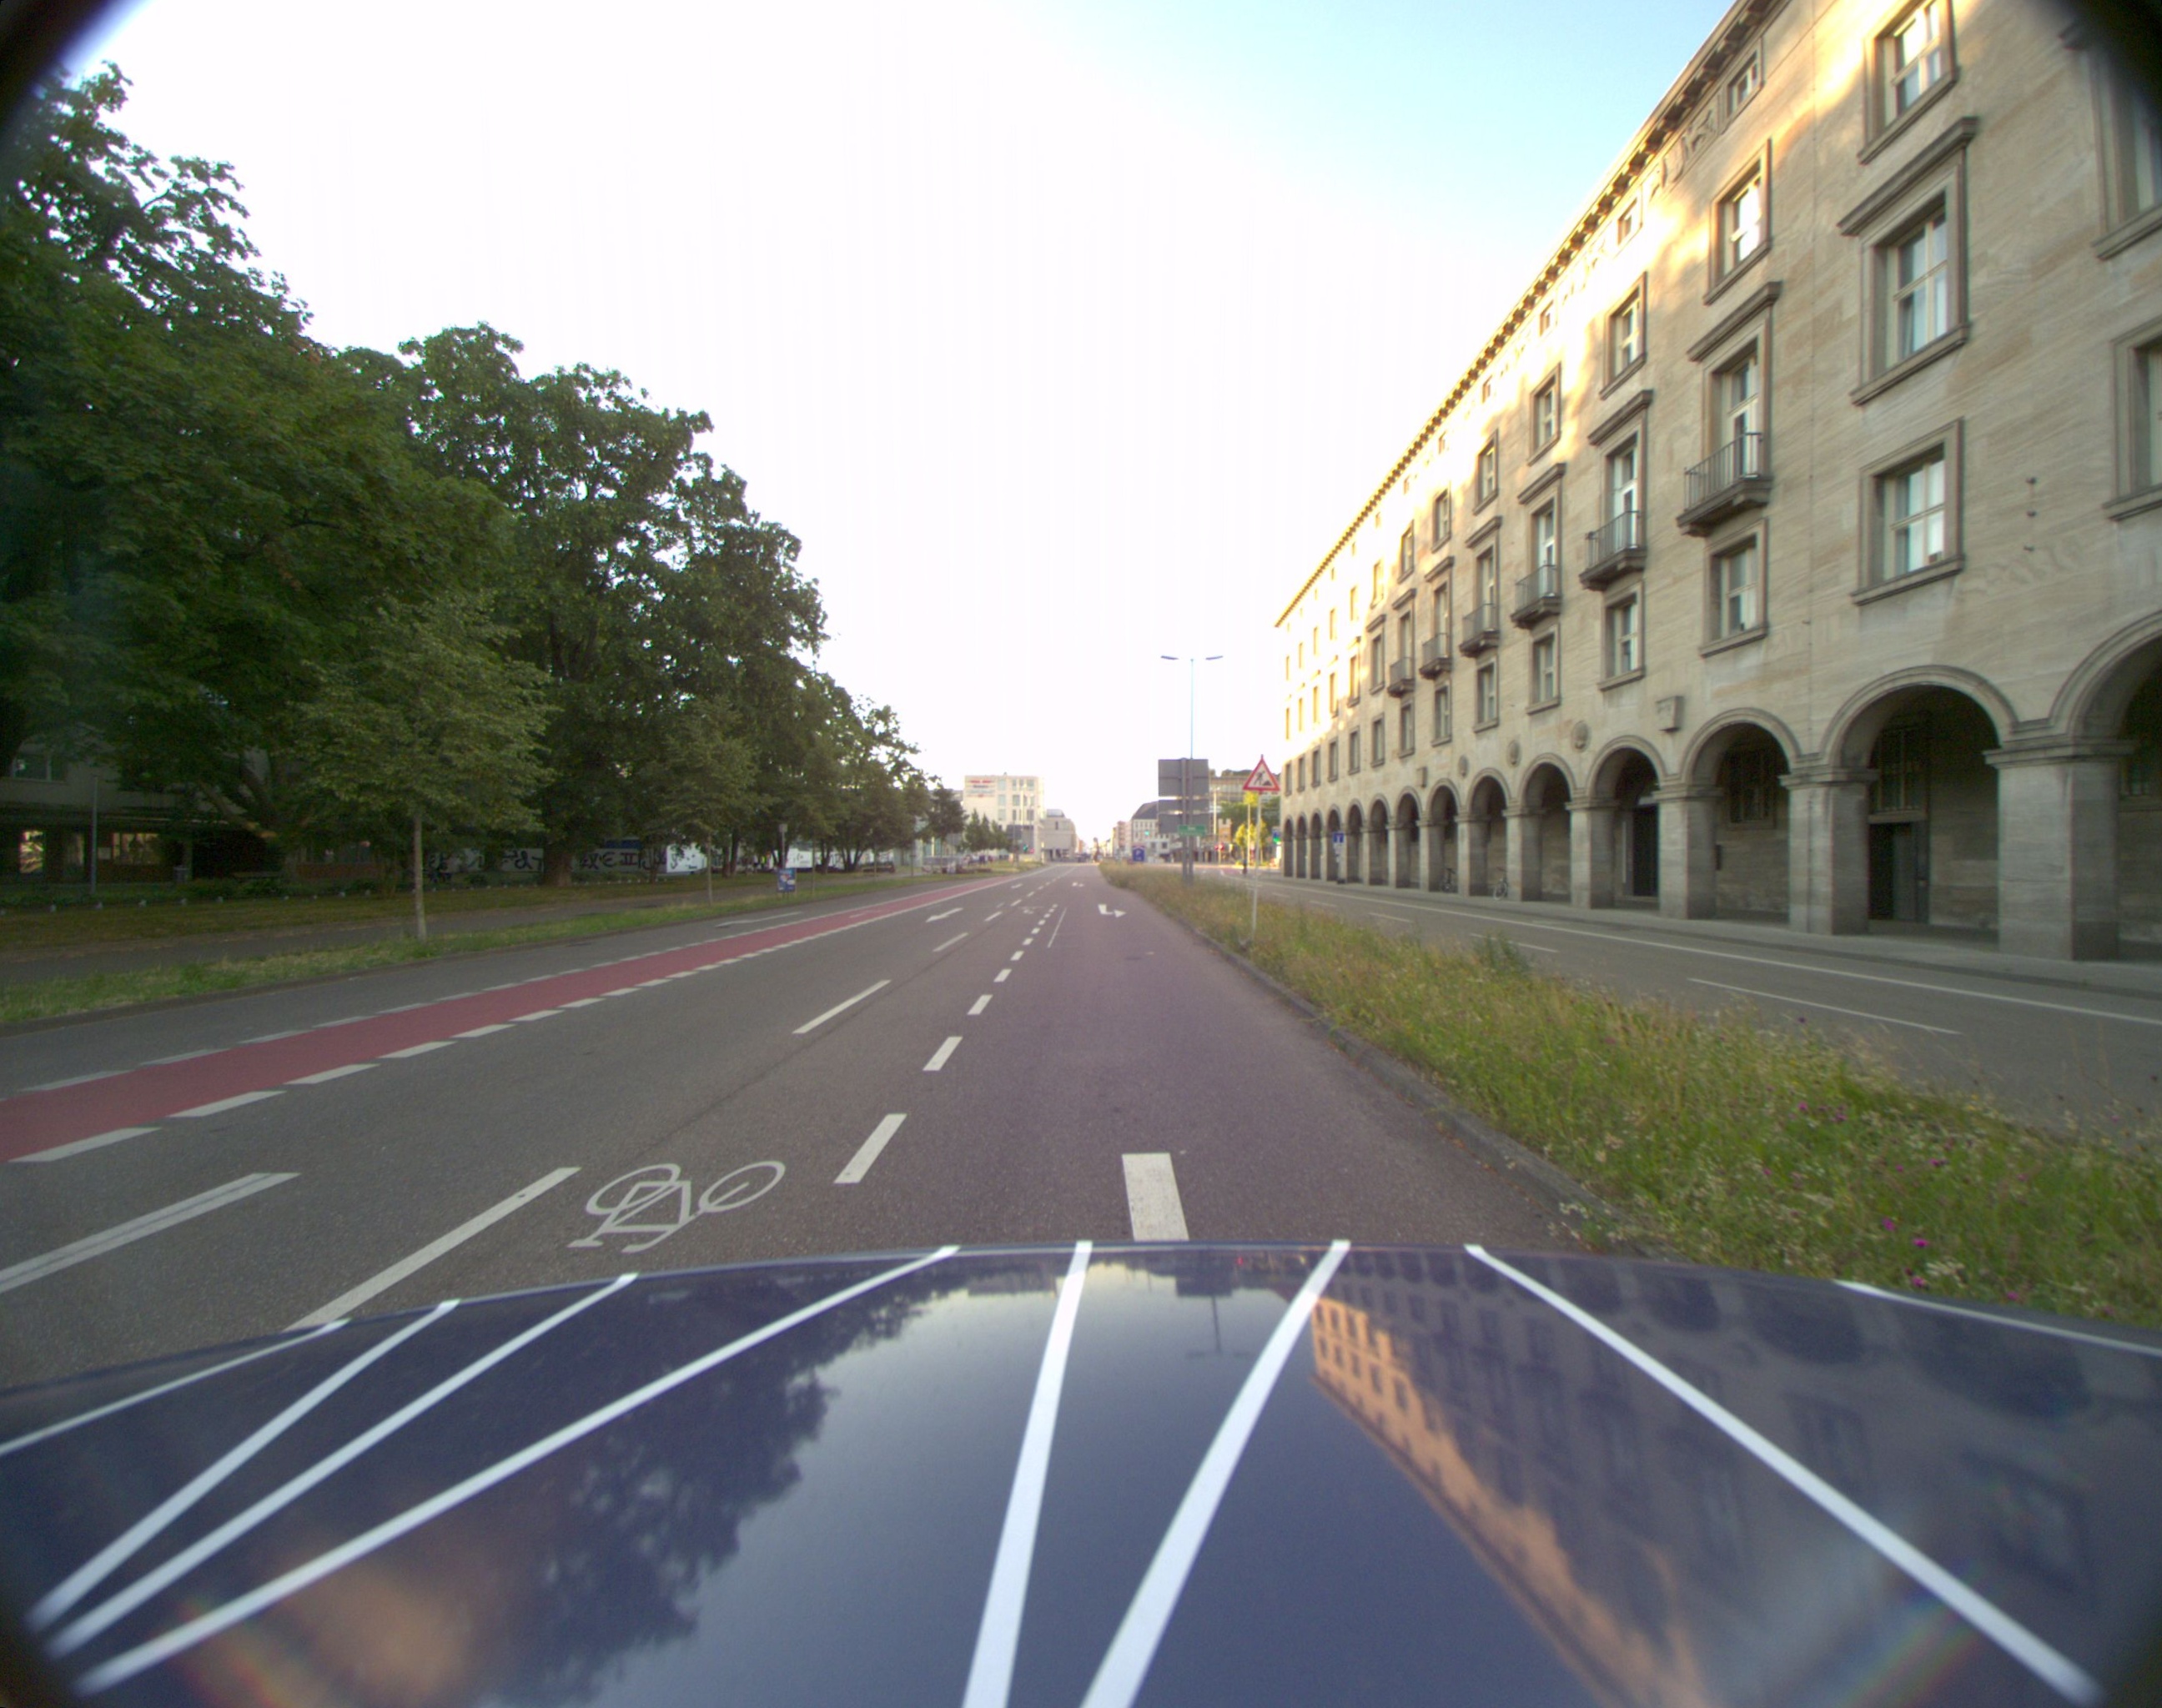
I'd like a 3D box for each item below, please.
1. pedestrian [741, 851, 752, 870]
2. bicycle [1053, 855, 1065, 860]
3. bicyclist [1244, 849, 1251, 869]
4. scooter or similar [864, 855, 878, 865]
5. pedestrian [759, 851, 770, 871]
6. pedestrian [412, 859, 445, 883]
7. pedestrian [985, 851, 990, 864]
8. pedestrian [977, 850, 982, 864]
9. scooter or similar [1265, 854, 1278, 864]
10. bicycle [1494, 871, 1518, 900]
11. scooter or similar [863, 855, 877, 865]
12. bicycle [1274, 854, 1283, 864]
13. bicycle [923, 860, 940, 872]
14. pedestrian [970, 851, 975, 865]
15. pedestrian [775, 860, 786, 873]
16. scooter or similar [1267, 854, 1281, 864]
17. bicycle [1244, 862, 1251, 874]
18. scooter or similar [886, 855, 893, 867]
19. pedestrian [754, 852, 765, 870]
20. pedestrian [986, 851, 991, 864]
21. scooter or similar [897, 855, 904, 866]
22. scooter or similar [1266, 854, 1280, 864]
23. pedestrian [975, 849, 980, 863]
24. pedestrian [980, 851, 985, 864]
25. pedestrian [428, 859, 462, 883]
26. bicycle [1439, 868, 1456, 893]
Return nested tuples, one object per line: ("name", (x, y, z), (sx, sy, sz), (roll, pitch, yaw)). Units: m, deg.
("pedestrian", (-33.124, 0.625, 75.266), (0.768, 1.845, 0.601), (0, 1, 16))
("bicycle", (-5.481, 0.881, 189.211), (2.804, 1.209, 0.765), (0, 0, 10))
("bicyclist", (13.967, 0.417, 63.863), (0.537, 1.683, 0.749), (0, 1, 11))
("scooter or similar", (-26.846, 0.792, 97.129), (1.573, 1.213, 0.474), (-2, 1, -1))
("pedestrian", (-31.057, 0.661, 74.607), (0.768, 1.908, 0.601), (0, 1, 16))
("pedestrian", (-35.036, 0.918, 40.783), (1.134, 1.253, 0.726), (0, 1, 3))
("pedestrian", (-14.025, 0.491, 113.656), (0.644, 1.922, 0.619), (0, 1, 3))
("pedestrian", (-14.306, 0.431, 107.128), (0.644, 1.922, 0.619), (0, 1, 3))
("scooter or similar", (26.367, 0.699, 105.146), (1.793, 1.297, 0.417), (0, 1, -5))
("bicycle", (15.363, 1.118, 27.424), (0.477, 0.999, 2.009), (0, 0, 37))
("scooter or similar", (-26.788, 0.808, 96.312), (1.573, 1.213, 0.474), (-2, 1, -1))
("bicycle", (26.567, 0.660, 102.217), (0.619, 1.316, 2.509), (0, 0, -1))
("bicycle", (-12.700, 1.034, 64.577), (0.494, 1.000, 1.901), (3, 1, 21))
("pedestrian", (-15.290, 0.536, 107.041), (0.644, 1.922, 0.619), (0, 1, 3))
("pedestrian", (-20.621, 0.876, 52.116), (0.682, 0.879, 0.592), (0, 1, -24))
("scooter or similar", (26.423, 0.690, 104.221), (1.841, 1.297, 0.423), (0, 1, -5))
("bicycle", (14.014, 1.155, 64.121), (0.542, 0.999, 2.007), (0, 0, 11))
("scooter or similar", (-21.177, 0.765, 84.184), (0.474, 1.213, 1.573), (2, 0, -6))
("pedestrian", (-32.124, 0.667, 75.940), (0.768, 1.810, 0.601), (0, 1, 16))
("pedestrian", (-13.611, 0.475, 111.716), (0.644, 1.922, 0.619), (0, 1, 3))
("scooter or similar", (-20.005, 0.753, 84.247), (0.424, 1.213, 1.399), (2, 0, 2))
("scooter or similar", (26.393, 0.694, 104.662), (1.836, 1.297, 0.423), (0, 1, -5))
("pedestrian", (-15.243, 0.286, 111.626), (0.644, 1.922, 0.619), (0, 1, 3))
("pedestrian", (-14.647, 0.486, 112.739), (0.644, 1.922, 0.619), (0, 1, 3))
("pedestrian", (-34.920, 0.926, 41.732), (1.134, 1.253, 0.905), (0, 1, 3))
("bicycle", (15.646, 1.098, 32.459), (0.477, 0.999, 2.008), (0, 0, 20))
